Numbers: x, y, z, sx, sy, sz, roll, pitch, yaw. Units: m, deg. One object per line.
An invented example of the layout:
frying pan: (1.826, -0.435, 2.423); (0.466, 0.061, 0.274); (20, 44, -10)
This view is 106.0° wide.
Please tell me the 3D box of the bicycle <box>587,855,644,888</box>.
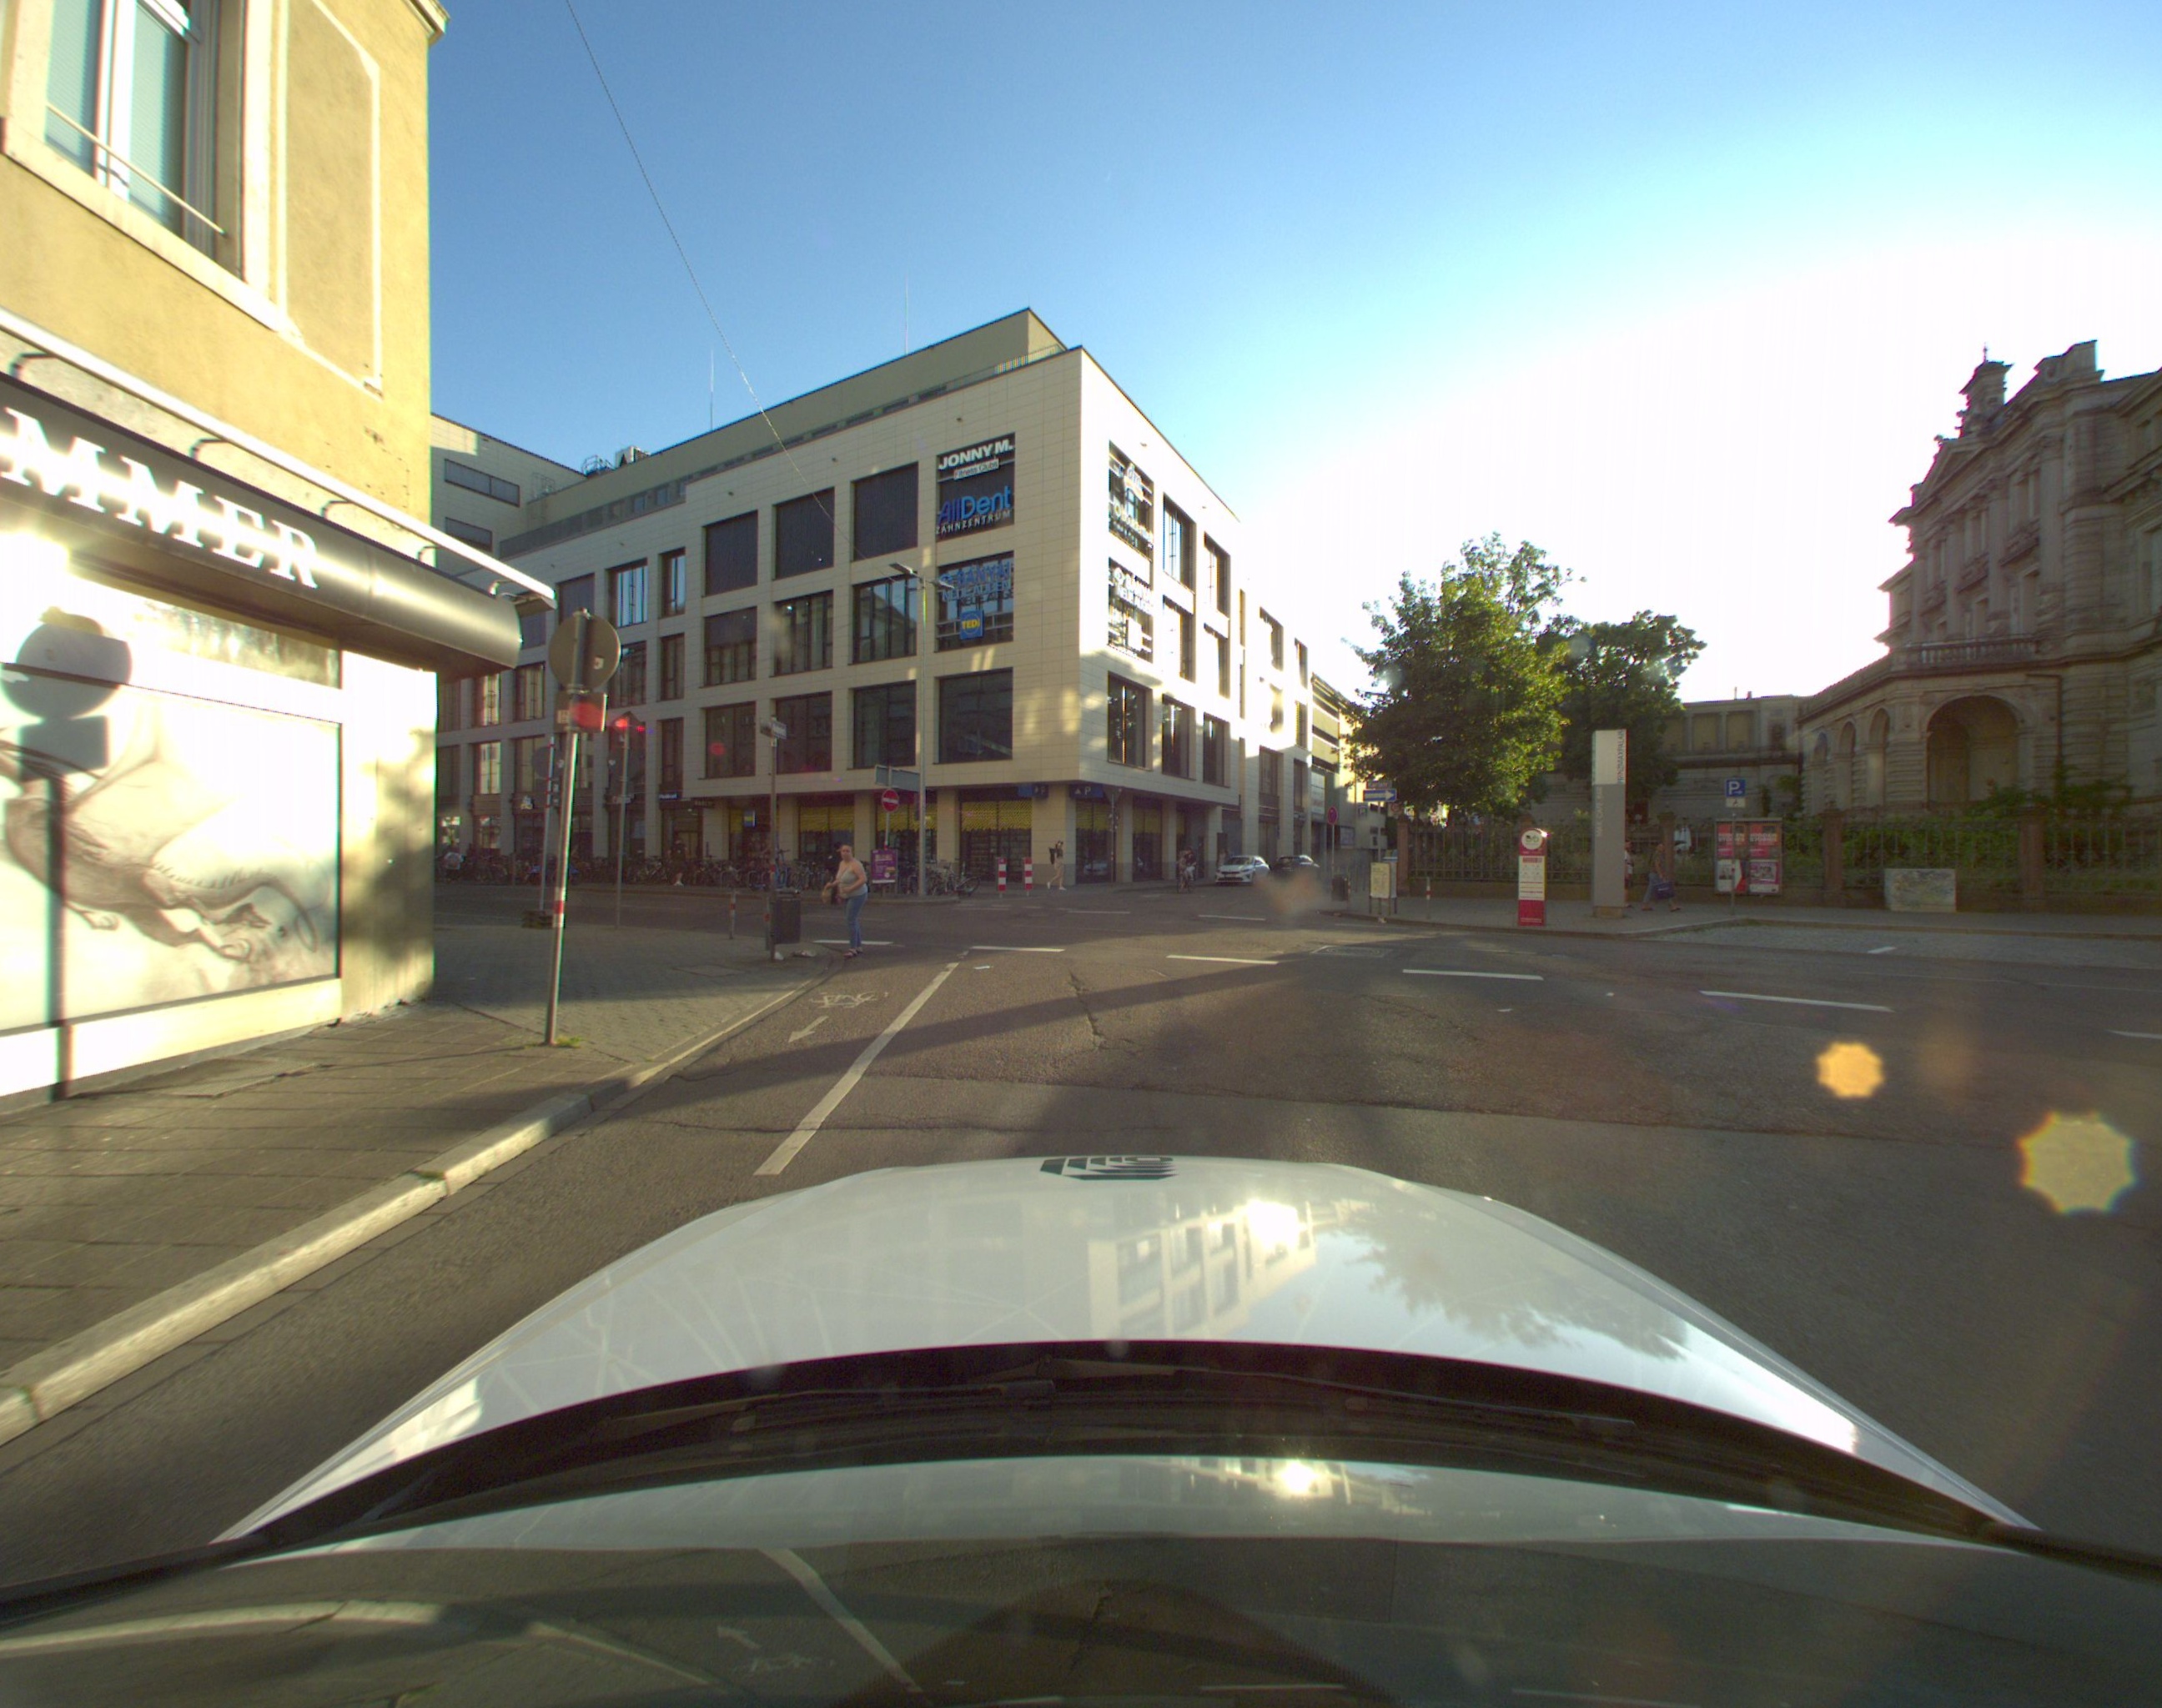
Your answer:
bicycle: (-18.610, 0.694, 32.604); (0.507, 1.255, 1.991); (1, -1, 28)

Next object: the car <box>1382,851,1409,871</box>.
car: (31.042, 0.650, 80.343); (1.866, 1.912, 4.776); (1, 0, 28)

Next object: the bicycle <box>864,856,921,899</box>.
bicycle: (-5.775, 0.716, 25.053); (0.507, 1.255, 1.991); (1, -1, 28)

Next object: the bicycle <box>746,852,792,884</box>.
bicycle: (-12.917, 0.576, 33.707); (1.954, 1.255, 0.616); (1, -1, 28)

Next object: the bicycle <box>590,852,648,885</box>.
bicycle: (-18.117, 0.560, 32.015); (0.507, 1.255, 1.991); (1, -1, 28)

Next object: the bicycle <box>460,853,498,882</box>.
bicycle: (-26.566, 0.594, 35.930); (1.954, 1.255, 0.516); (1, -1, 27)

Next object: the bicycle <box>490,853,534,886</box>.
bicycle: (-22.279, 0.599, 31.858); (1.954, 1.255, 0.516); (1, -1, 27)

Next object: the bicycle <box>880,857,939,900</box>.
bicycle: (-5.160, 0.725, 24.620); (0.507, 1.255, 1.991); (1, -1, 30)

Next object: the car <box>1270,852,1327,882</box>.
car: (12.496, 0.703, 46.620); (1.865, 1.598, 4.718); (1, 0, 31)

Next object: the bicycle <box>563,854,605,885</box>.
bicycle: (-20.986, 0.647, 34.353); (1.954, 1.255, 0.516); (1, -1, 27)

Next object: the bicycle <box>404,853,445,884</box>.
bicycle: (-27.316, 0.596, 33.869); (1.954, 1.255, 0.516); (1, -1, 27)

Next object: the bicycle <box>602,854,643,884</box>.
bicycle: (-20.012, 0.658, 35.544); (1.954, 1.255, 0.516); (1, -1, 27)

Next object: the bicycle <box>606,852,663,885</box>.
bicycle: (-17.419, 0.573, 31.809); (0.507, 1.255, 1.991); (1, -1, 28)

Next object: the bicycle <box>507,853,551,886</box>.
bicycle: (-22.003, 0.602, 32.461); (1.954, 1.255, 0.516); (1, -1, 27)

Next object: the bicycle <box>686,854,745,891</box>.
bicycle: (-13.052, 0.646, 29.121); (0.507, 1.255, 1.991); (1, -1, 28)

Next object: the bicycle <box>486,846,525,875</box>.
bicycle: (-25.942, 0.286, 36.707); (1.954, 1.255, 0.516); (1, -1, 27)

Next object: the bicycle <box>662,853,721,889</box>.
bicycle: (-14.155, 0.627, 29.642); (0.507, 1.255, 1.991); (1, -1, 28)

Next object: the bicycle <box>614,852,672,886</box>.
bicycle: (-16.805, 0.582, 31.298); (0.507, 1.255, 1.991); (1, -1, 28)

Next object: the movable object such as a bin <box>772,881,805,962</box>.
movable object such as a bin: (-3.920, 0.896, 10.938); (0.359, 1.063, 0.355); (1, 0, -12)

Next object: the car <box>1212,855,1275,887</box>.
car: (7.756, 0.767, 38.692); (1.761, 1.453, 4.256); (1, 0, 28)

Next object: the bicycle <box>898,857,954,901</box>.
bicycle: (-4.606, 0.743, 24.348); (0.507, 1.255, 1.990); (1, -1, 26)

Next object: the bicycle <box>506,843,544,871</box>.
bicycle: (-25.570, 0.129, 37.439); (1.954, 1.255, 0.516); (1, -1, 27)

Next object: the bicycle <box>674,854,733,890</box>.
bicycle: (-13.585, 0.637, 29.385); (0.507, 1.255, 1.991); (1, -1, 28)

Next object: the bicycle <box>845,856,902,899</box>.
bicycle: (-6.446, 0.721, 25.447); (0.507, 1.255, 1.990); (1, -1, 27)

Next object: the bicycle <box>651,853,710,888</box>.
bicycle: (-14.790, 0.617, 30.138); (0.507, 1.255, 1.991); (1, -1, 28)

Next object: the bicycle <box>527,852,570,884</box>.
bicycle: (-21.630, 0.551, 33.094); (1.954, 1.255, 0.516); (1, -1, 27)

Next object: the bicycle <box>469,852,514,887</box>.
bicycle: (-22.578, 0.584, 31.168); (1.954, 1.255, 0.516); (1, -1, 27)

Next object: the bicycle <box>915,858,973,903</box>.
bicycle: (-4.020, 0.757, 24.107); (0.575, 1.255, 2.056); (1, -1, 26)

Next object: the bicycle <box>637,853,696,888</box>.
bicycle: (-15.508, 0.604, 30.531); (0.507, 1.255, 1.991); (1, -1, 28)

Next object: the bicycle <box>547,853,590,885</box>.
bicycle: (-21.245, 0.622, 33.743); (1.954, 1.255, 0.516); (1, -1, 27)

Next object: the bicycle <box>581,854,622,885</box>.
bicycle: (-20.558, 0.667, 34.923); (1.954, 1.255, 0.516); (1, -1, 27)

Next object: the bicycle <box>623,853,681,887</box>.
bicycle: (-16.202, 0.592, 30.799); (0.507, 1.255, 1.991); (1, -1, 28)

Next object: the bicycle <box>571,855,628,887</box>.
bicycle: (-19.450, 0.682, 32.962); (0.507, 1.255, 1.991); (1, -1, 28)
